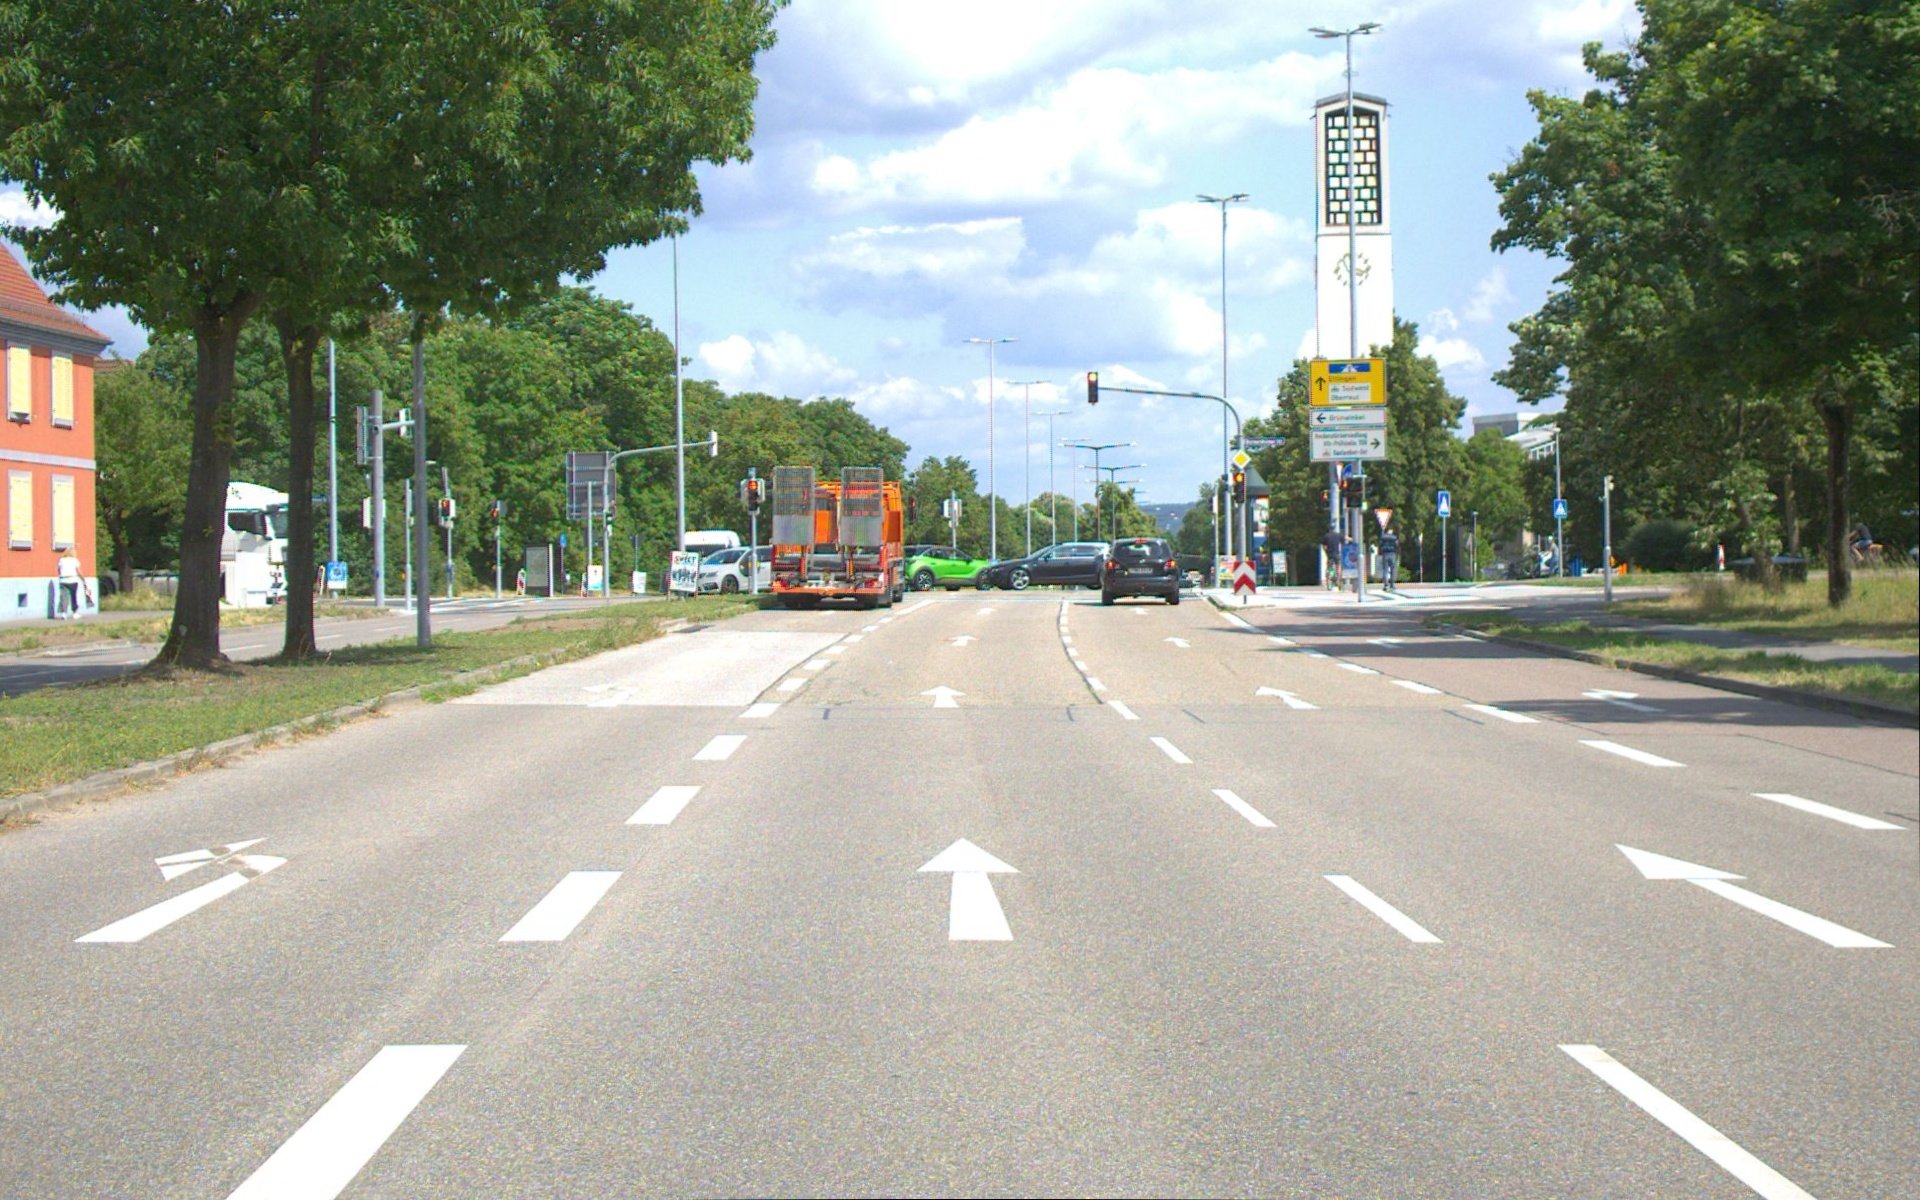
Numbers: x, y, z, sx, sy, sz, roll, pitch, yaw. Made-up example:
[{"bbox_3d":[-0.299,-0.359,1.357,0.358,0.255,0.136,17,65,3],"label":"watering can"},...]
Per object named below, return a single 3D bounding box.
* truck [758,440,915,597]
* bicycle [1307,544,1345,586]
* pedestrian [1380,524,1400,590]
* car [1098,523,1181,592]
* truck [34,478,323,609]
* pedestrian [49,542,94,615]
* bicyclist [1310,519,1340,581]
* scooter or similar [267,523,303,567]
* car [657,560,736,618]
[{"bbox_3d":[-2.799,-1.807,81.349,3.071,3.402,11.068,1,0,1],"label":"truck"},{"bbox_3d":[10.004,-0.957,93.994,0.648,1.104,1.926,1,0,17],"label":"bicycle"},{"bbox_3d":[11.590,-1.158,92.619,0.465,1.773,0.482,1,0,12],"label":"pedestrian"},{"bbox_3d":[4.241,-0.990,81.893,1.799,1.547,4.000,1,0,1],"label":"car"},{"bbox_3d":[-25.104,-1.818,110.464,8.616,3.957,2.967,2,0,16],"label":"truck"},{"bbox_3d":[-19.441,-0.470,75.229,0.696,1.578,0.851,1,0,1],"label":"pedestrian"},{"bbox_3d":[9.959,-1.368,93.806,0.648,1.656,0.649,1,0,17],"label":"bicyclist"},{"bbox_3d":[-18.355,-1.493,93.447,0.589,1.160,1.762,1,0,1],"label":"scooter or similar"},{"bbox_3d":[-7.522,-0.307,98.501,1.732,1.503,4.652,-4,0,1],"label":"car"}]
